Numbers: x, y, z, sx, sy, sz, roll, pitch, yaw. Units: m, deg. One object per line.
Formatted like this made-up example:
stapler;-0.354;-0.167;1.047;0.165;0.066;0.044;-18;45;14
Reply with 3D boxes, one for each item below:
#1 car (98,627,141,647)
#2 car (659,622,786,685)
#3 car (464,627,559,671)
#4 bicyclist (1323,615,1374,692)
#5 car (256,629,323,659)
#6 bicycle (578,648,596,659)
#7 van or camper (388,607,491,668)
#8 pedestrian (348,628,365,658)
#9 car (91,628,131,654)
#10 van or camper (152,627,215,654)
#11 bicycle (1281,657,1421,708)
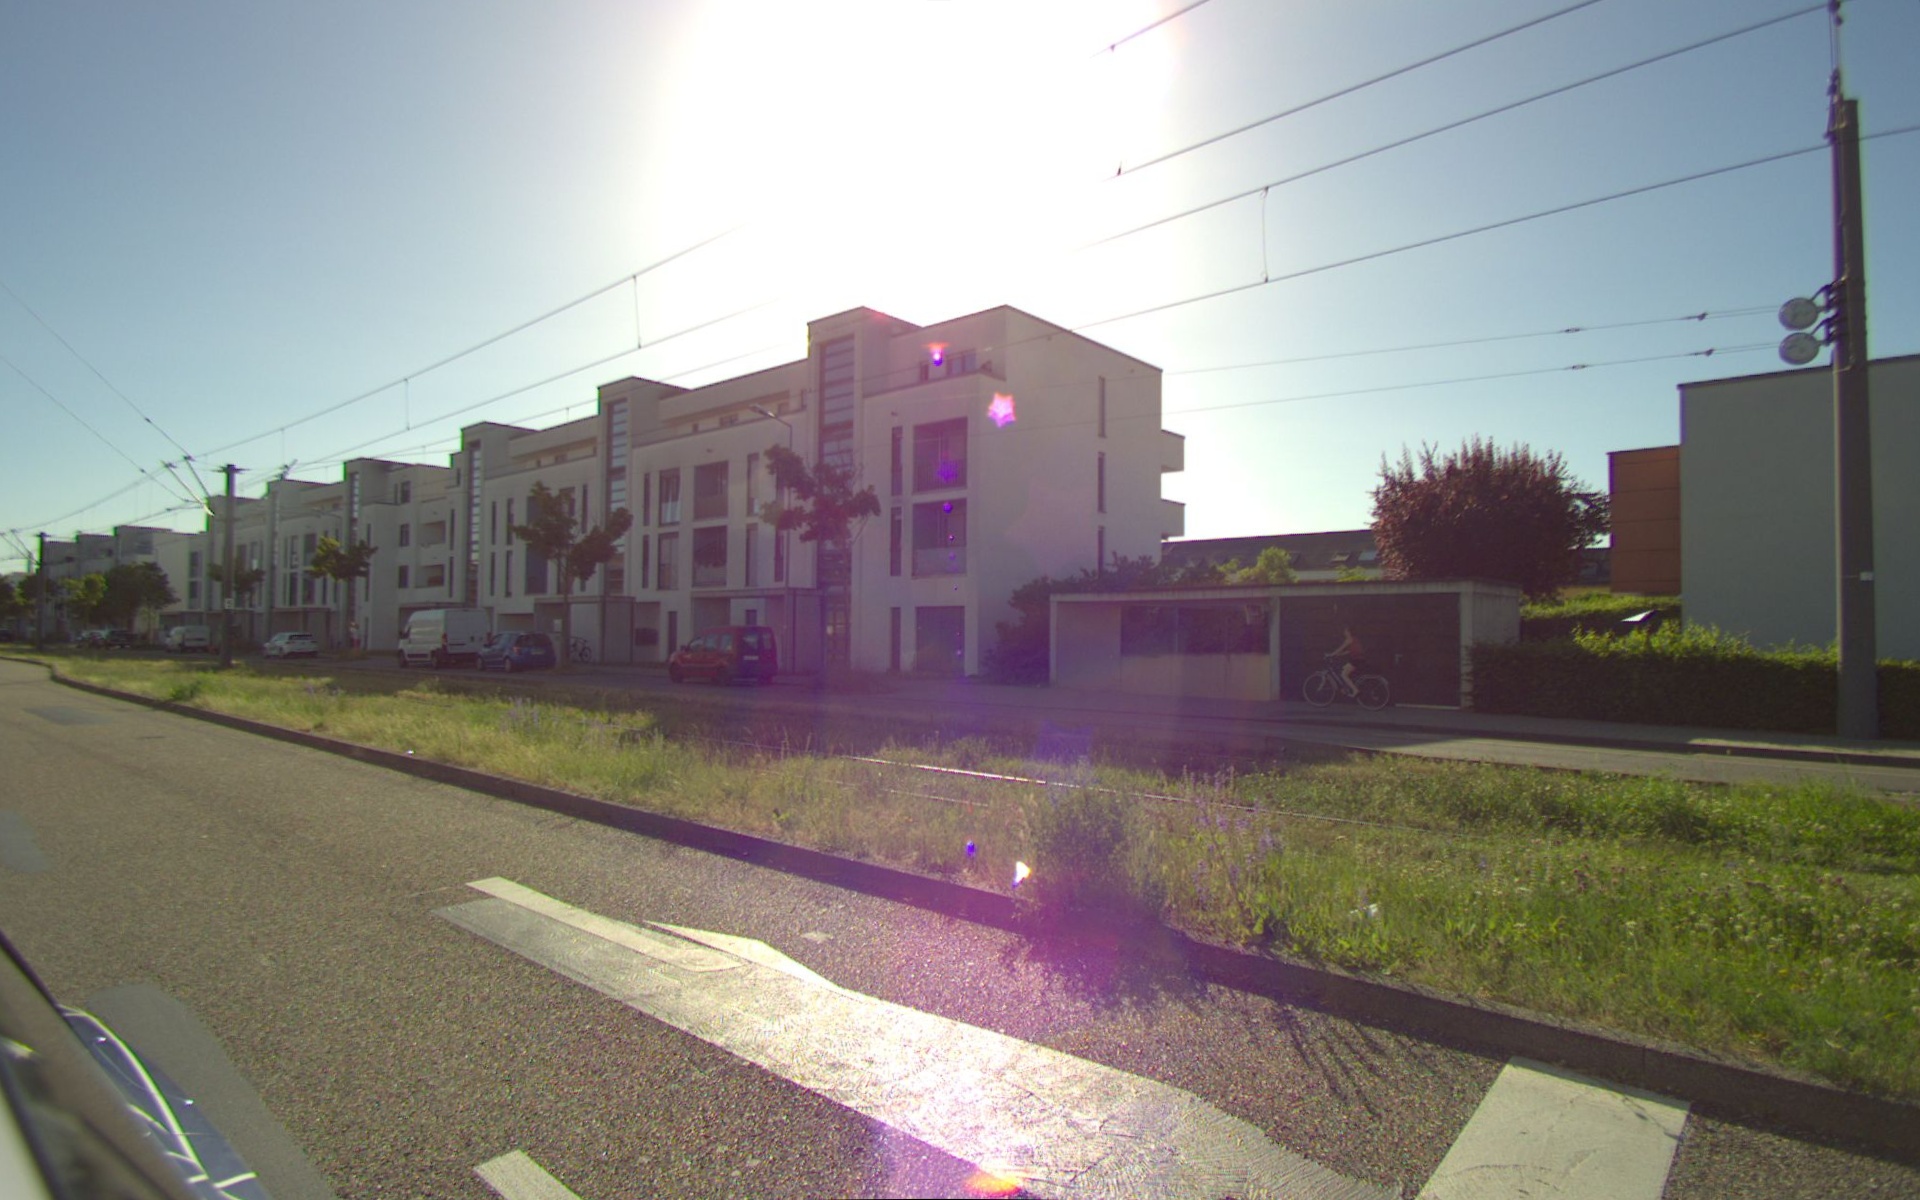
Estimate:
car;-64.266;2.822;77.381;3.492;1.449;1.844;0;0;38
car;-7.122;1.570;30.151;3.908;1.736;1.769;-1;-4;43
car;-17.408;1.885;39.222;3.835;1.625;1.909;-2;-3;42
bicyclist;7.796;1.066;20.288;0.744;1.502;0.881;-1;-3;36
car;-37.947;2.466;57.234;4.117;1.598;2.021;-1;-3;39
bicycle;-17.779;2.535;48.256;1.060;0.502;0.349;-2;-4;41
van or camper;-22.493;1.602;43.681;5.258;2.484;2.168;-2;-3;42
pedestrian;-33.943;2.402;56.895;0.611;1.656;0.612;-1;-1;35
car;-69.182;3.325;82.489;3.995;2.029;1.765;-1;-1;39
van or camper;-54.486;2.801;70.968;6.282;1.862;2.243;-1;-2;41
bicycle;7.794;1.622;20.258;2.479;0.899;0.891;-1;-3;37
